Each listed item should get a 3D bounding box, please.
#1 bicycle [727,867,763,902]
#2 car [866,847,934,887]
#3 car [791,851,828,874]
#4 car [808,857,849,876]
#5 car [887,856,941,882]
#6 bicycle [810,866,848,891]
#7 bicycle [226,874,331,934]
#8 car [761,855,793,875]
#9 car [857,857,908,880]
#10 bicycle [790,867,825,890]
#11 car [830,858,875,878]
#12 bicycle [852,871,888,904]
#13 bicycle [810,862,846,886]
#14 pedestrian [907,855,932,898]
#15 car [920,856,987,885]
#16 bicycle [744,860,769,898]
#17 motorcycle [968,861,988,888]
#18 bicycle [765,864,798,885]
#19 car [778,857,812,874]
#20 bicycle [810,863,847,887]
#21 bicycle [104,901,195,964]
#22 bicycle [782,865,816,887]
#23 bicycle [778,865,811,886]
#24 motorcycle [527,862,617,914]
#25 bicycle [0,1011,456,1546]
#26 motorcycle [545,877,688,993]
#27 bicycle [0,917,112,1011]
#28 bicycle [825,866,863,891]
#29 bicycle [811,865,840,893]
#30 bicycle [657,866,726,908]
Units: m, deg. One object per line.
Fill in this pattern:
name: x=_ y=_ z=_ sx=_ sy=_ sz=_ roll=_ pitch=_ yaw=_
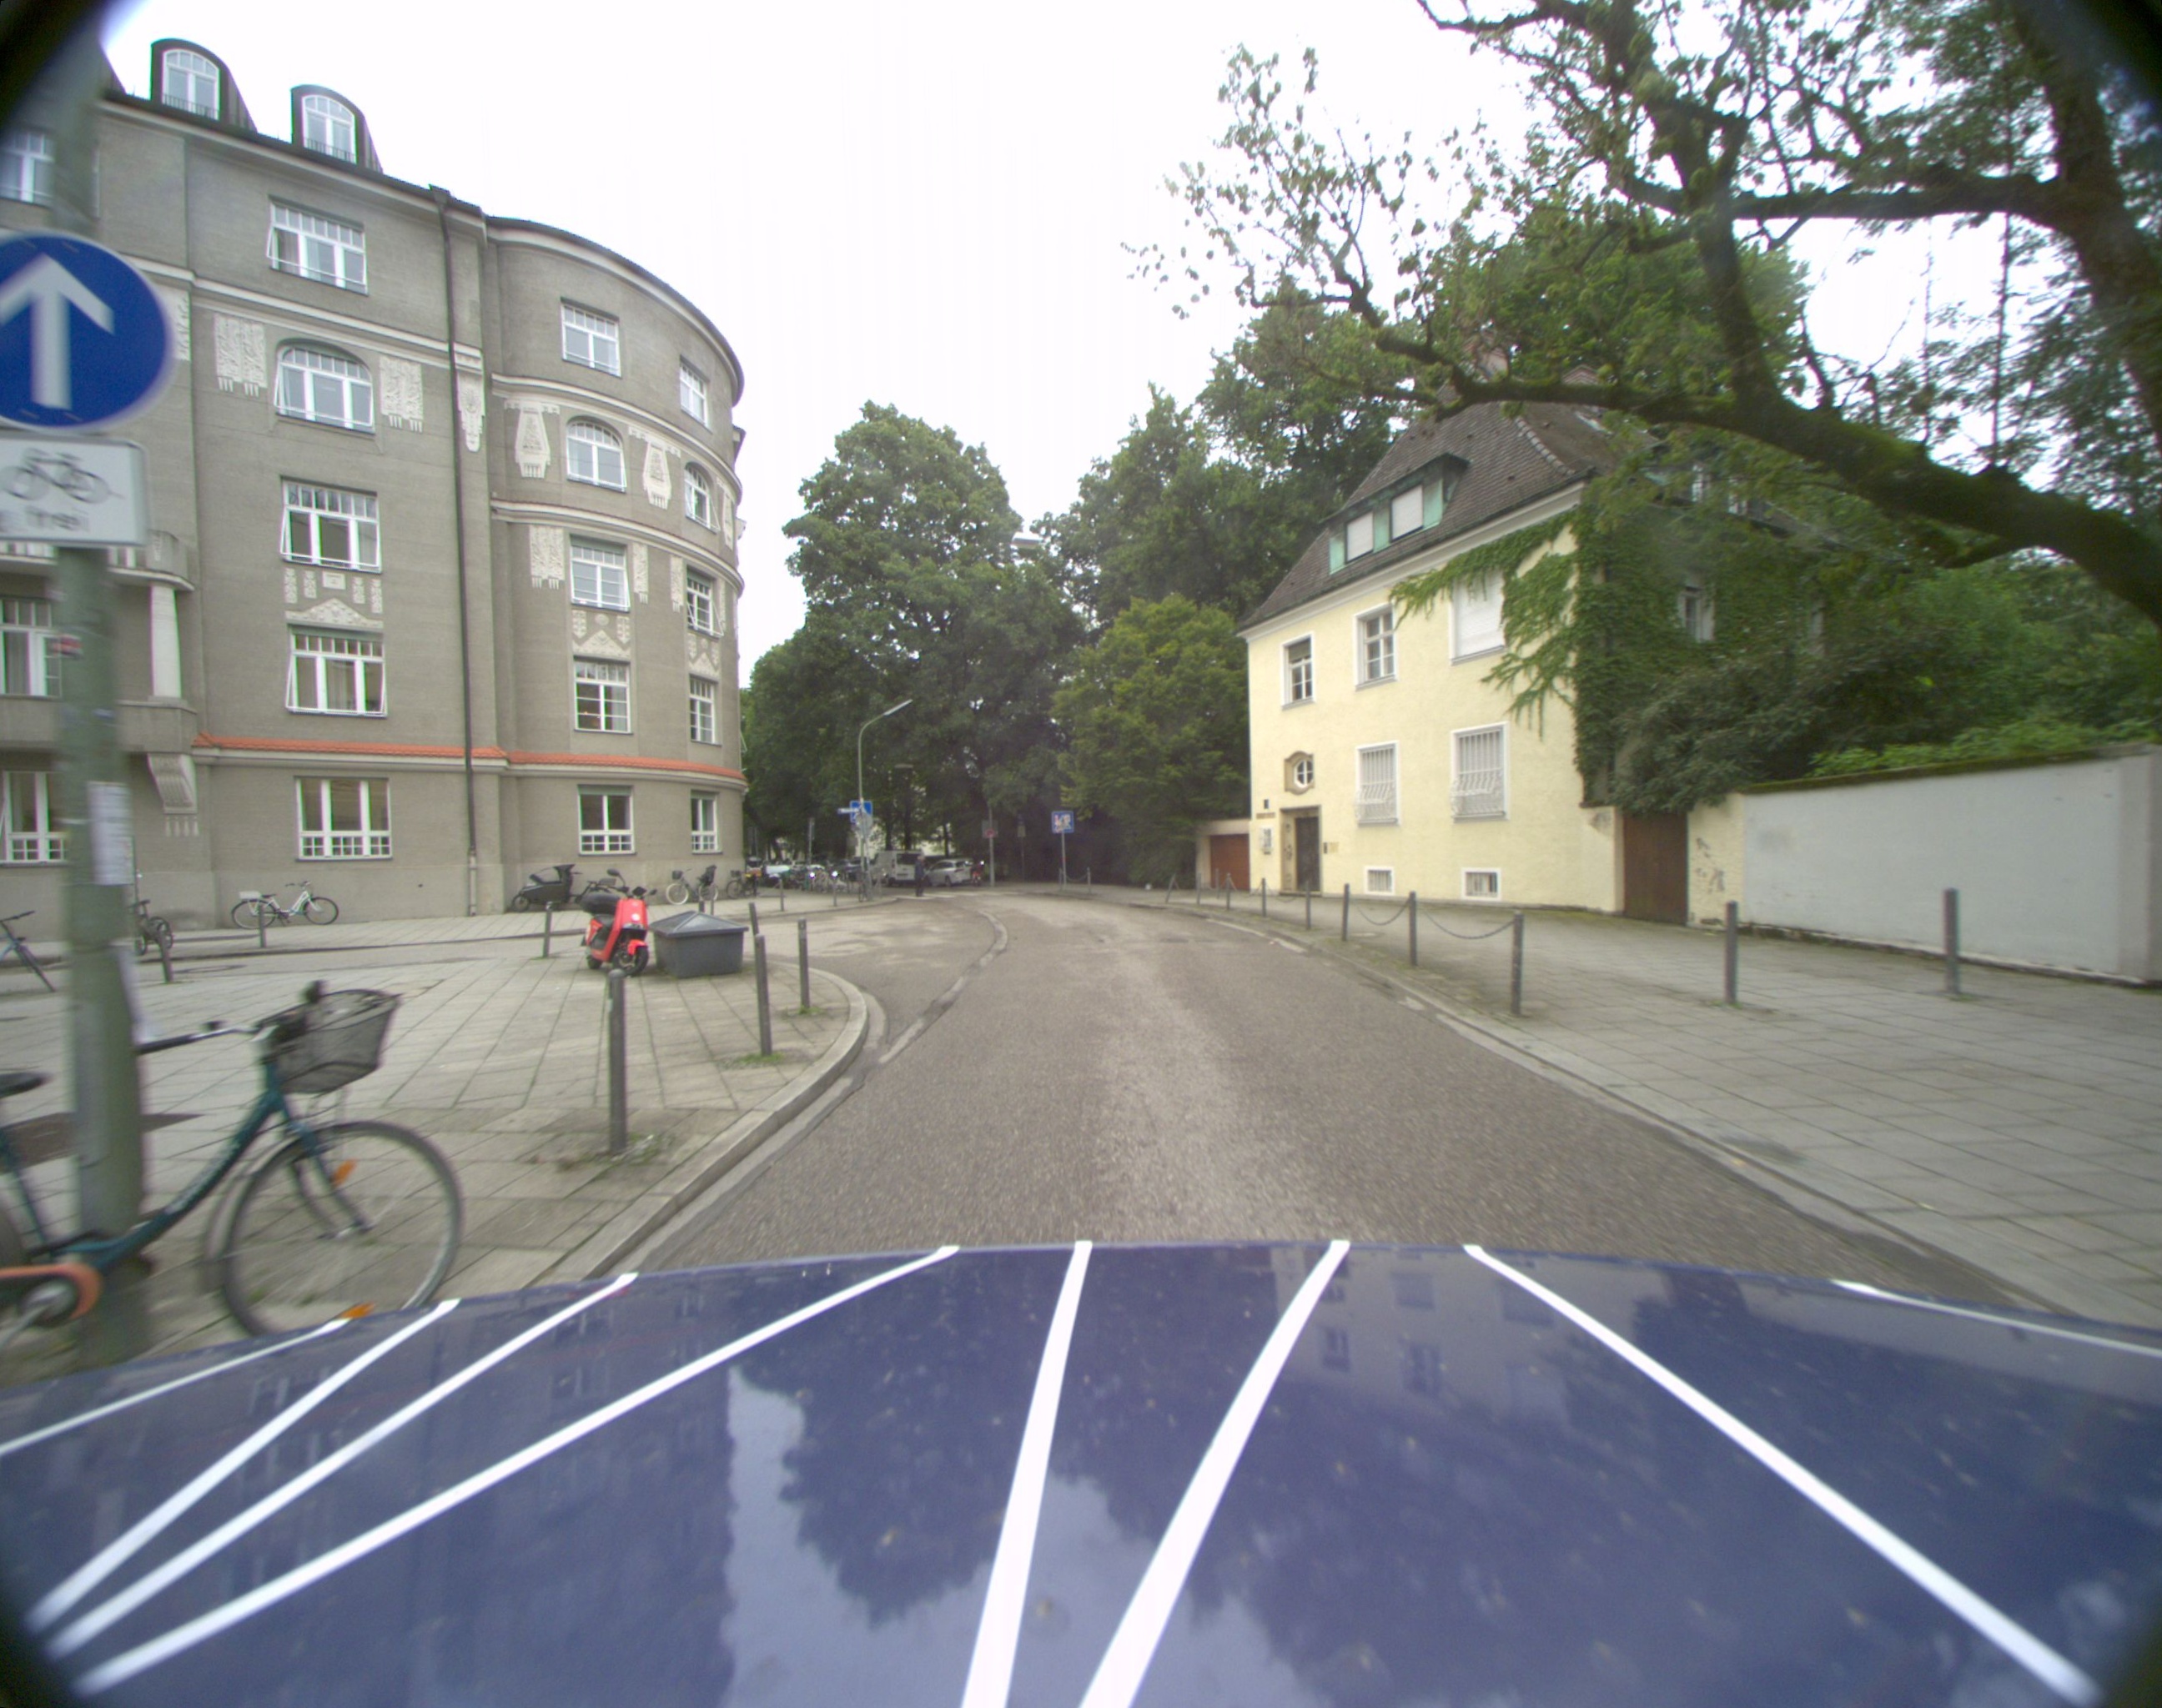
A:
bicycle: x=-12.277 y=1.091 z=27.790 sx=0.565 sy=1.150 sz=1.925 roll=2 pitch=1 yaw=-5
car: x=-10.034 y=0.688 z=41.771 sx=2.050 sy=2.030 sz=4.945 roll=-2 pitch=1 yaw=-33
car: x=-23.131 y=0.707 z=64.615 sx=1.780 sy=1.808 sz=4.505 roll=-2 pitch=1 yaw=-35
car: x=-20.124 y=0.982 z=60.426 sx=1.780 sy=1.424 sz=4.505 roll=-2 pitch=1 yaw=-35
car: x=-10.150 y=0.860 z=46.012 sx=1.627 sy=1.440 sz=4.424 roll=-2 pitch=1 yaw=-34
bicycle: x=-12.081 y=1.162 z=36.396 sx=1.685 sy=1.140 sz=0.465 roll=-1 pitch=2 yaw=-16
bicycle: x=-19.945 y=1.215 z=18.935 sx=1.678 sy=1.342 sz=0.619 roll=-2 pitch=2 yaw=-36
car: x=-29.436 y=1.065 z=73.520 sx=1.780 sy=1.825 sz=4.505 roll=-2 pitch=1 yaw=-35
car: x=-13.366 y=0.971 z=50.994 sx=1.628 sy=1.440 sz=4.423 roll=-2 pitch=1 yaw=-38
bicycle: x=-14.203 y=1.258 z=39.475 sx=1.685 sy=1.140 sz=0.511 roll=-1 pitch=2 yaw=-16
car: x=-16.884 y=1.011 z=55.996 sx=1.780 sy=1.424 sz=4.505 roll=-2 pitch=1 yaw=-35
bicycle: x=-7.320 y=1.151 z=26.412 sx=0.511 sy=1.004 sz=2.008 roll=-1 pitch=1 yaw=5
bicycle: x=-12.772 y=0.989 z=38.359 sx=1.685 sy=1.140 sz=0.511 roll=-1 pitch=2 yaw=-16
pedestrian: x=-6.382 y=0.870 z=30.063 sx=0.727 sy=1.632 sz=0.811 roll=-2 pitch=2 yaw=-29
car: x=-6.993 y=0.895 z=41.291 sx=1.628 sy=1.440 sz=4.423 roll=-2 pitch=1 yaw=-38
bicycle: x=-12.718 y=0.947 z=29.821 sx=0.739 sy=1.405 sz=1.923 roll=-1 pitch=1 yaw=-19
motorcycle: x=-5.005 y=0.963 z=37.027 sx=0.859 sy=1.177 sz=2.004 roll=-5 pitch=2 yaw=-7
bicycle: x=-16.995 y=1.175 z=43.164 sx=1.685 sy=1.140 sz=0.511 roll=-1 pitch=2 yaw=-16
car: x=-25.918 y=1.010 z=68.680 sx=1.780 sy=1.424 sz=4.505 roll=-2 pitch=1 yaw=-35
bicycle: x=-12.547 y=1.025 z=37.736 sx=1.685 sy=1.140 sz=0.511 roll=-1 pitch=2 yaw=-16
bicycle: x=-18.171 y=1.502 z=14.863 sx=0.541 sy=1.009 sz=1.803 roll=-2 pitch=2 yaw=-32
bicycle: x=-15.470 y=1.201 z=41.707 sx=1.685 sy=1.140 sz=0.511 roll=-1 pitch=2 yaw=-16
bicycle: x=-16.018 y=1.198 z=42.471 sx=1.685 sy=1.140 sz=0.511 roll=-1 pitch=2 yaw=-16
motorcycle: x=-15.024 y=0.975 z=22.493 sx=2.150 sy=1.432 sz=0.736 roll=-2 pitch=2 yaw=-33
bicycle: x=-2.957 y=1.109 z=2.054 sx=1.764 sy=1.060 sz=0.774 roll=-1 pitch=1 yaw=-19
motorcycle: x=-6.134 y=0.999 z=9.996 sx=2.079 sy=1.348 sz=0.819 roll=-1 pitch=1 yaw=36
bicycle: x=-13.860 y=1.440 z=9.709 sx=0.665 sy=1.079 sz=1.797 roll=-3 pitch=0 yaw=-4
bicycle: x=-11.175 y=1.141 z=35.884 sx=1.709 sy=1.140 sz=0.511 roll=-1 pitch=2 yaw=-16
bicycle: x=-11.189 y=1.087 z=33.321 sx=0.511 sy=1.140 sz=1.684 roll=-1 pitch=1 yaw=5
bicycle: x=-12.792 y=1.048 z=25.004 sx=0.736 sy=1.249 sz=1.929 roll=0 pitch=1 yaw=28
